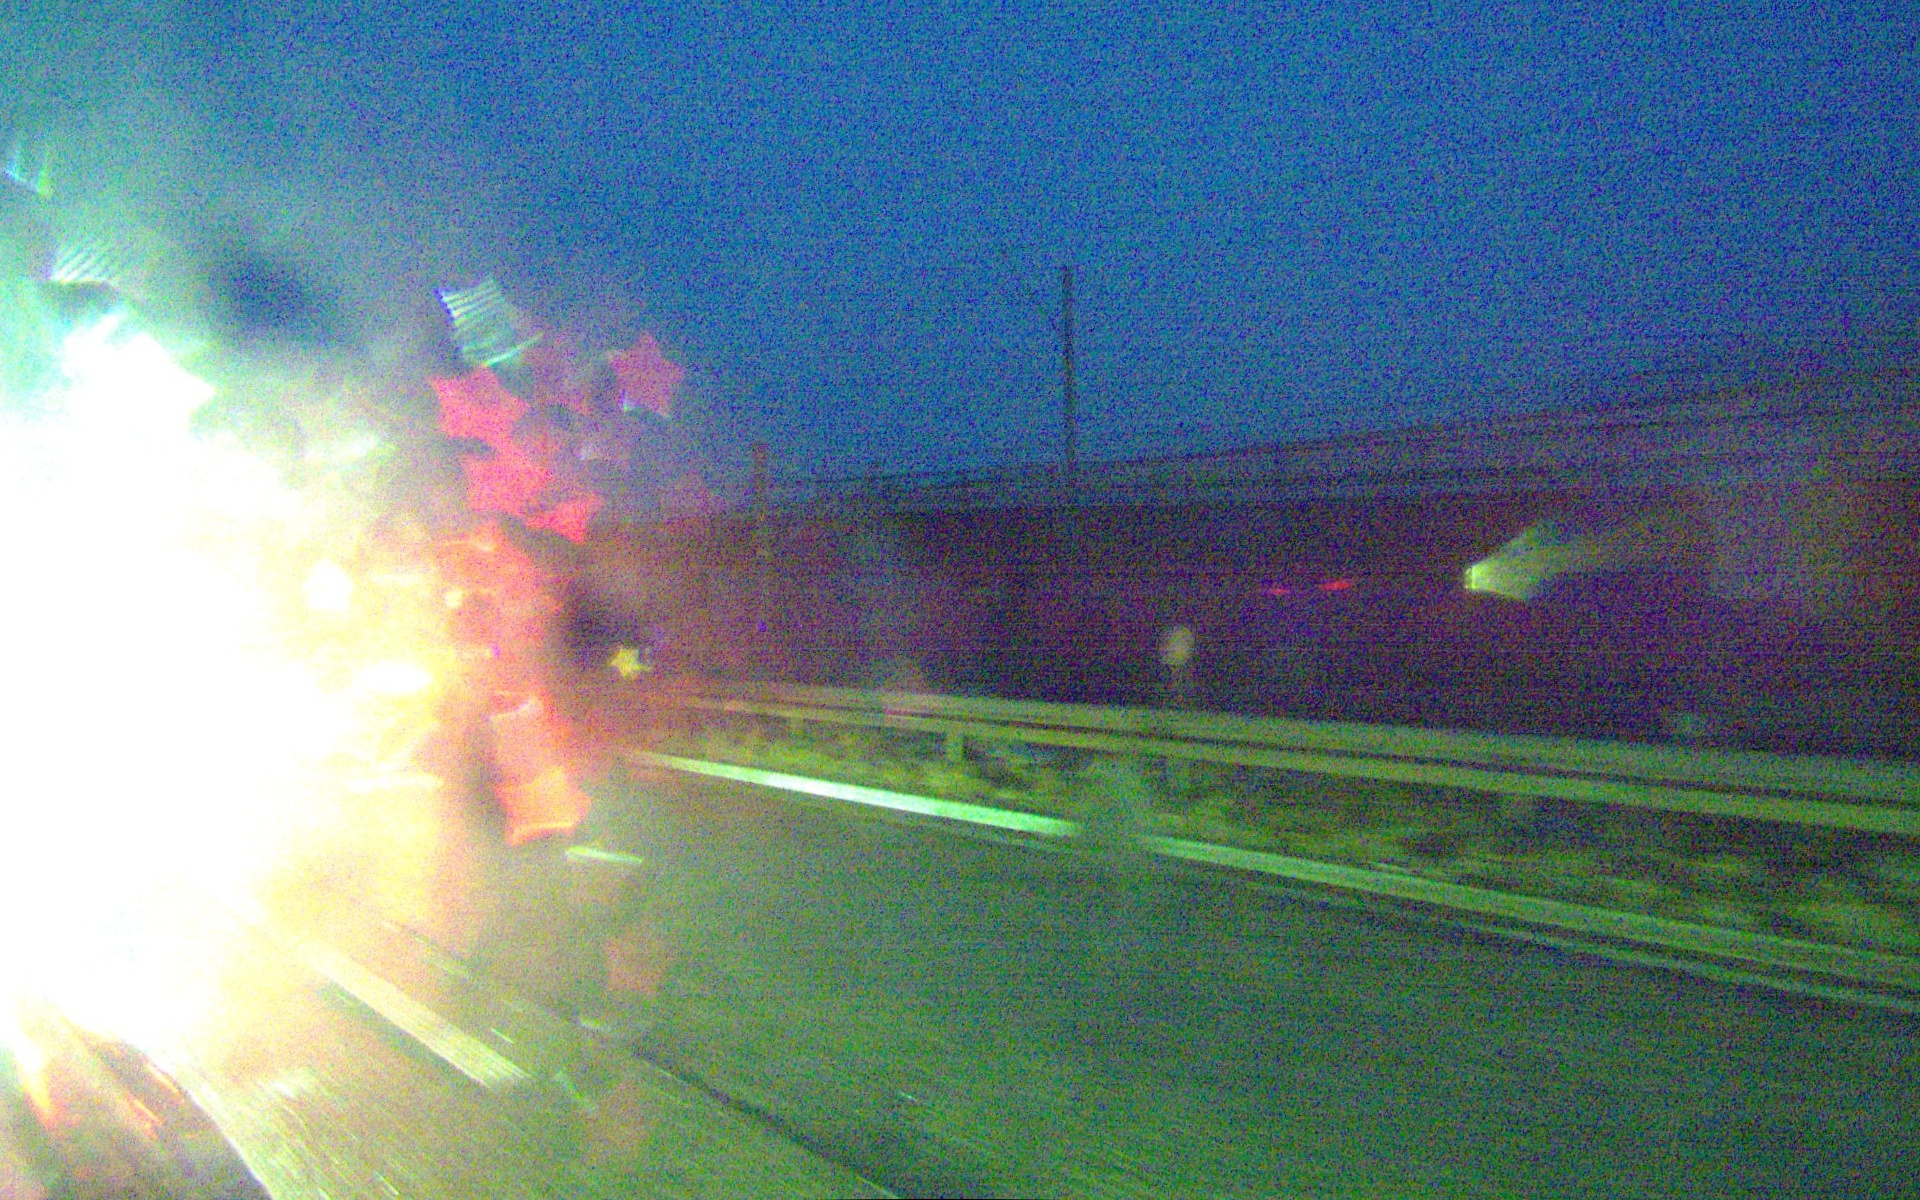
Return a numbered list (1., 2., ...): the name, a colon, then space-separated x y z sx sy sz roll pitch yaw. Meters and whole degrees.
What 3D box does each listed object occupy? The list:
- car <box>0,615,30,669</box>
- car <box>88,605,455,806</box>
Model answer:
1. car: -29.668 1.255 30.571 4.254 1.557 1.819 -1 -1 41
2. car: -6.835 0.837 9.868 4.272 1.481 1.884 -1 1 41
